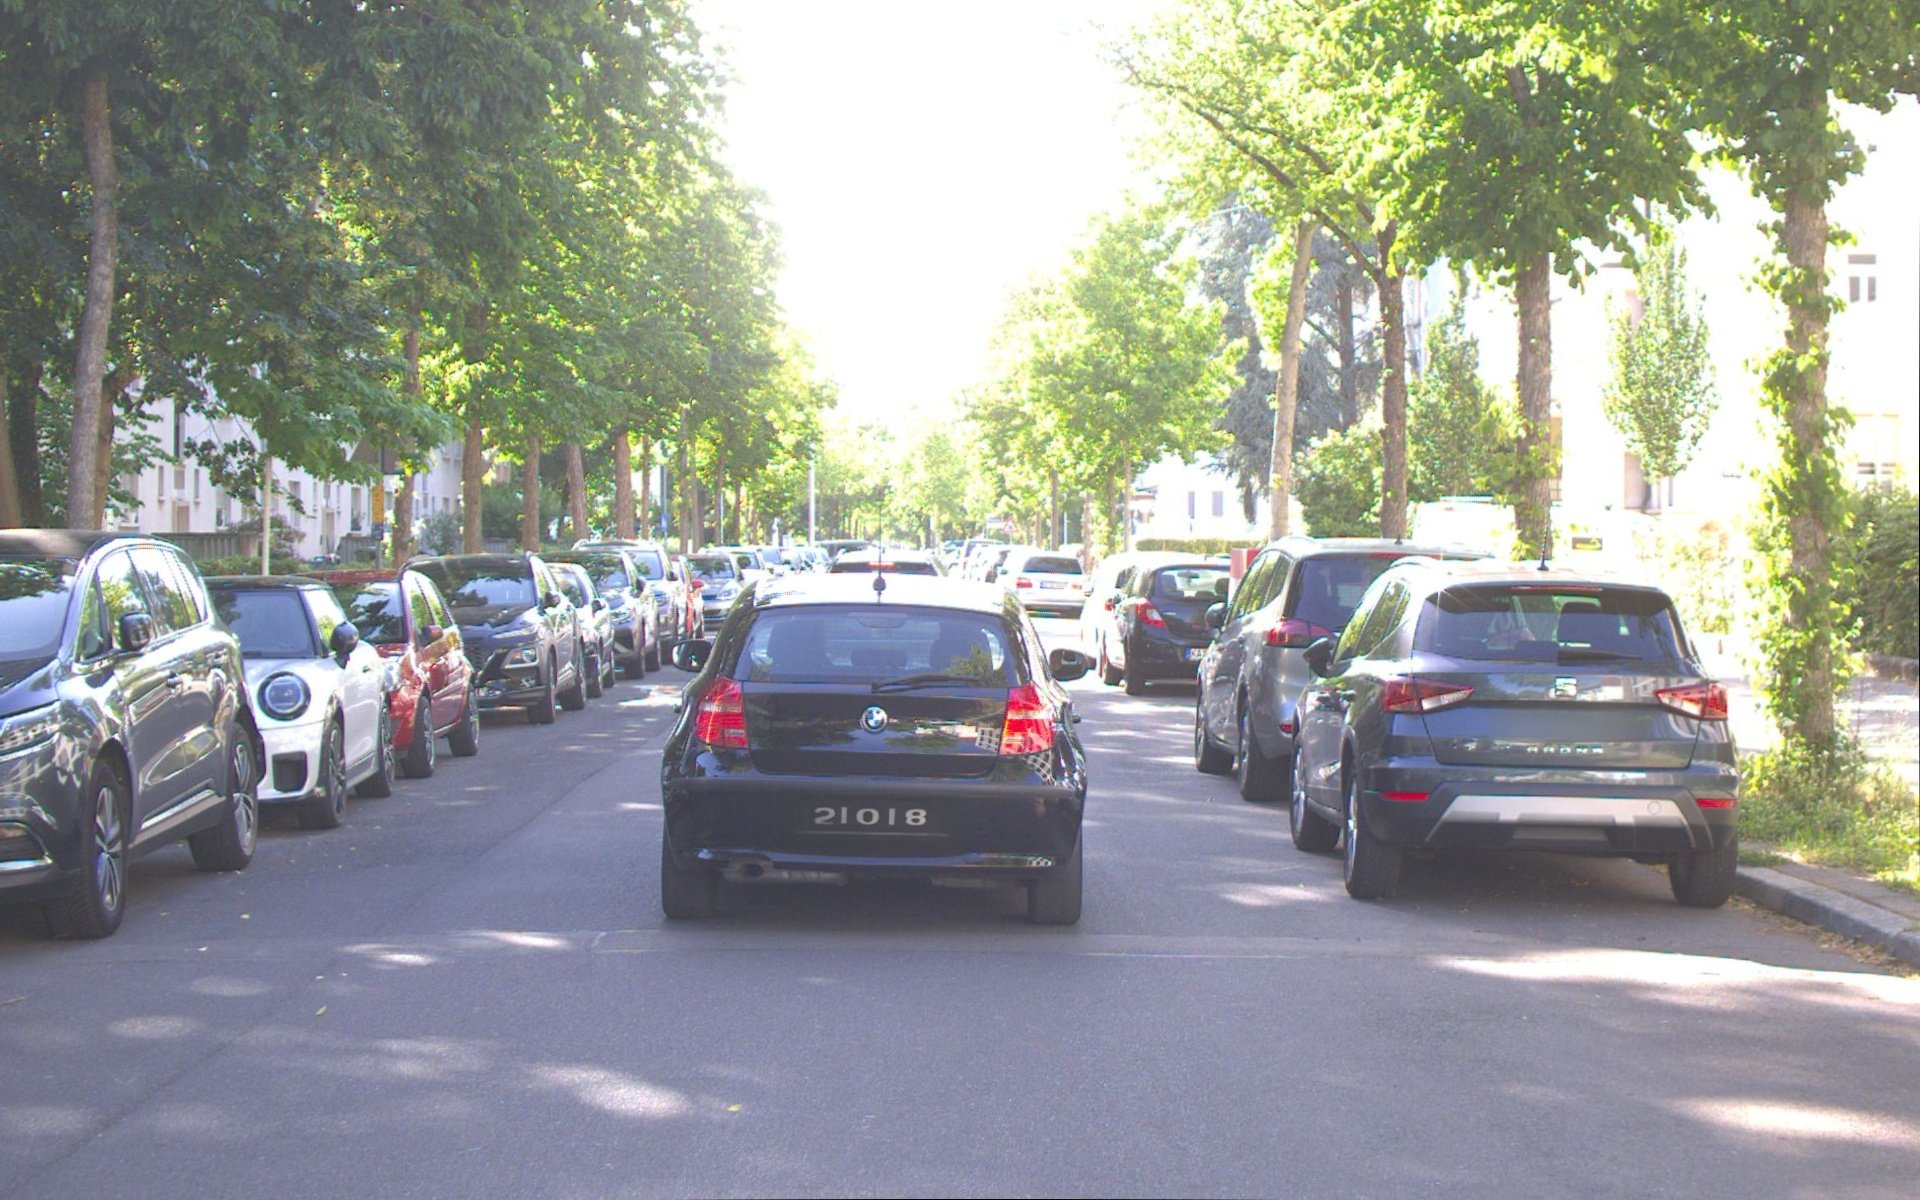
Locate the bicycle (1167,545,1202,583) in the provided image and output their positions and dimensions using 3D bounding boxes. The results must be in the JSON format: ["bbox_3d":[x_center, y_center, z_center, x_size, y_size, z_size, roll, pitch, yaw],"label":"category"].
[{"bbox_3d":[7.553,-1.219,115.866,0.838,1.253,2.232,1,1,-5],"label":"bicycle"}]

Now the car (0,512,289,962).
[{"bbox_3d":[-4.334,0.469,15.164,1.841,1.651,5.088,-1,1,-1],"label":"car"}]

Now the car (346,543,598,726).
[{"bbox_3d":[-4.498,0.265,32.256,1.706,1.571,4.482,-1,1,0],"label":"car"}]

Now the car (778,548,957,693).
[{"bbox_3d":[-1.088,0.214,39.328,1.895,1.519,4.967,1,0,-2],"label":"car"}]

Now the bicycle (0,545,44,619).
[{"bbox_3d":[-15.690,-0.313,56.537,0.686,1.197,1.912,0,1,1],"label":"bicycle"}]

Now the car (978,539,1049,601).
[{"bbox_3d":[1.514,-0.894,98.605,1.926,1.646,5.095,2,1,1],"label":"car"}]

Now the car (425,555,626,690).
[{"bbox_3d":[-4.671,0.198,37.468,1.784,1.348,4.482,-1,1,-2],"label":"car"}]

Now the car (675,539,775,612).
[{"bbox_3d":[-5.034,-0.551,73.688,2.063,1.519,4.723,0,1,-4],"label":"car"}]

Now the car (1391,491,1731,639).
[{"bbox_3d":[9.734,-0.583,55.674,5.039,2.298,2.235,0,1,-24],"label":"car"}]

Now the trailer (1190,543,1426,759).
[{"bbox_3d":[2.750,0.360,27.734,1.574,1.573,3.192,2,1,1],"label":"trailer"}]

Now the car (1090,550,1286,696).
[{"bbox_3d":[2.462,0.213,38.033,1.670,1.445,4.179,2,1,-2],"label":"car"}]

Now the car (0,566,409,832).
[{"bbox_3d":[-4.369,0.506,20.444,1.654,1.368,4.190,-1,1,-2],"label":"car"}]

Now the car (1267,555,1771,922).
[{"bbox_3d":[2.571,0.559,16.786,1.718,1.511,4.345,1,1,0],"label":"car"}]

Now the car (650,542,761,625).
[{"bbox_3d":[-4.845,-0.351,65.705,2.042,1.519,4.607,0,1,-4],"label":"car"}]

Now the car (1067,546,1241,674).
[{"bbox_3d":[2.354,0.083,42.601,1.732,1.482,4.010,1,1,-3],"label":"car"}]

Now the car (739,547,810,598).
[{"bbox_3d":[-5.254,-0.797,97.666,1.779,1.374,4.263,-2,1,0],"label":"car"}]

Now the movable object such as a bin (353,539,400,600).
[{"bbox_3d":[-12.777,-0.676,75.320,0.929,1.319,1.379,0,1,-6],"label":"movable object such as a bin"}]

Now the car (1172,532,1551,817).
[{"bbox_3d":[2.551,0.406,22.961,1.792,1.637,4.819,2,1,-1],"label":"car"}]

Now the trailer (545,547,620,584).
[{"bbox_3d":[-10.978,-1.010,100.141,1.789,1.030,3.281,0,1,1],"label":"trailer"}]

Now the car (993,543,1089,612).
[{"bbox_3d":[1.810,-0.527,78.310,1.821,1.464,4.910,2,1,-2],"label":"car"}]

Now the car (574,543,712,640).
[{"bbox_3d":[-4.973,-0.161,54.390,1.856,1.464,4.182,0,1,-1],"label":"car"}]

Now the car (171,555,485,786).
[{"bbox_3d":[-4.488,0.442,24.922,1.654,1.499,4.069,-1,1,-2],"label":"car"}]

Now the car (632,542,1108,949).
[{"bbox_3d":[-0.407,0.516,15.006,1.782,1.518,4.000,-1,1,-2],"label":"car"}]

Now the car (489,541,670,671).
[{"bbox_3d":[-4.689,0.033,42.896,1.769,1.526,4.420,0,1,0],"label":"car"}]

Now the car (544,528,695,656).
[{"bbox_3d":[-4.716,-0.150,48.131,1.767,1.682,4.815,-1,1,-2],"label":"car"}]

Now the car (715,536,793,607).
[{"bbox_3d":[-5.090,-0.728,85.438,1.728,1.612,4.367,-3,1,-2],"label":"car"}]
